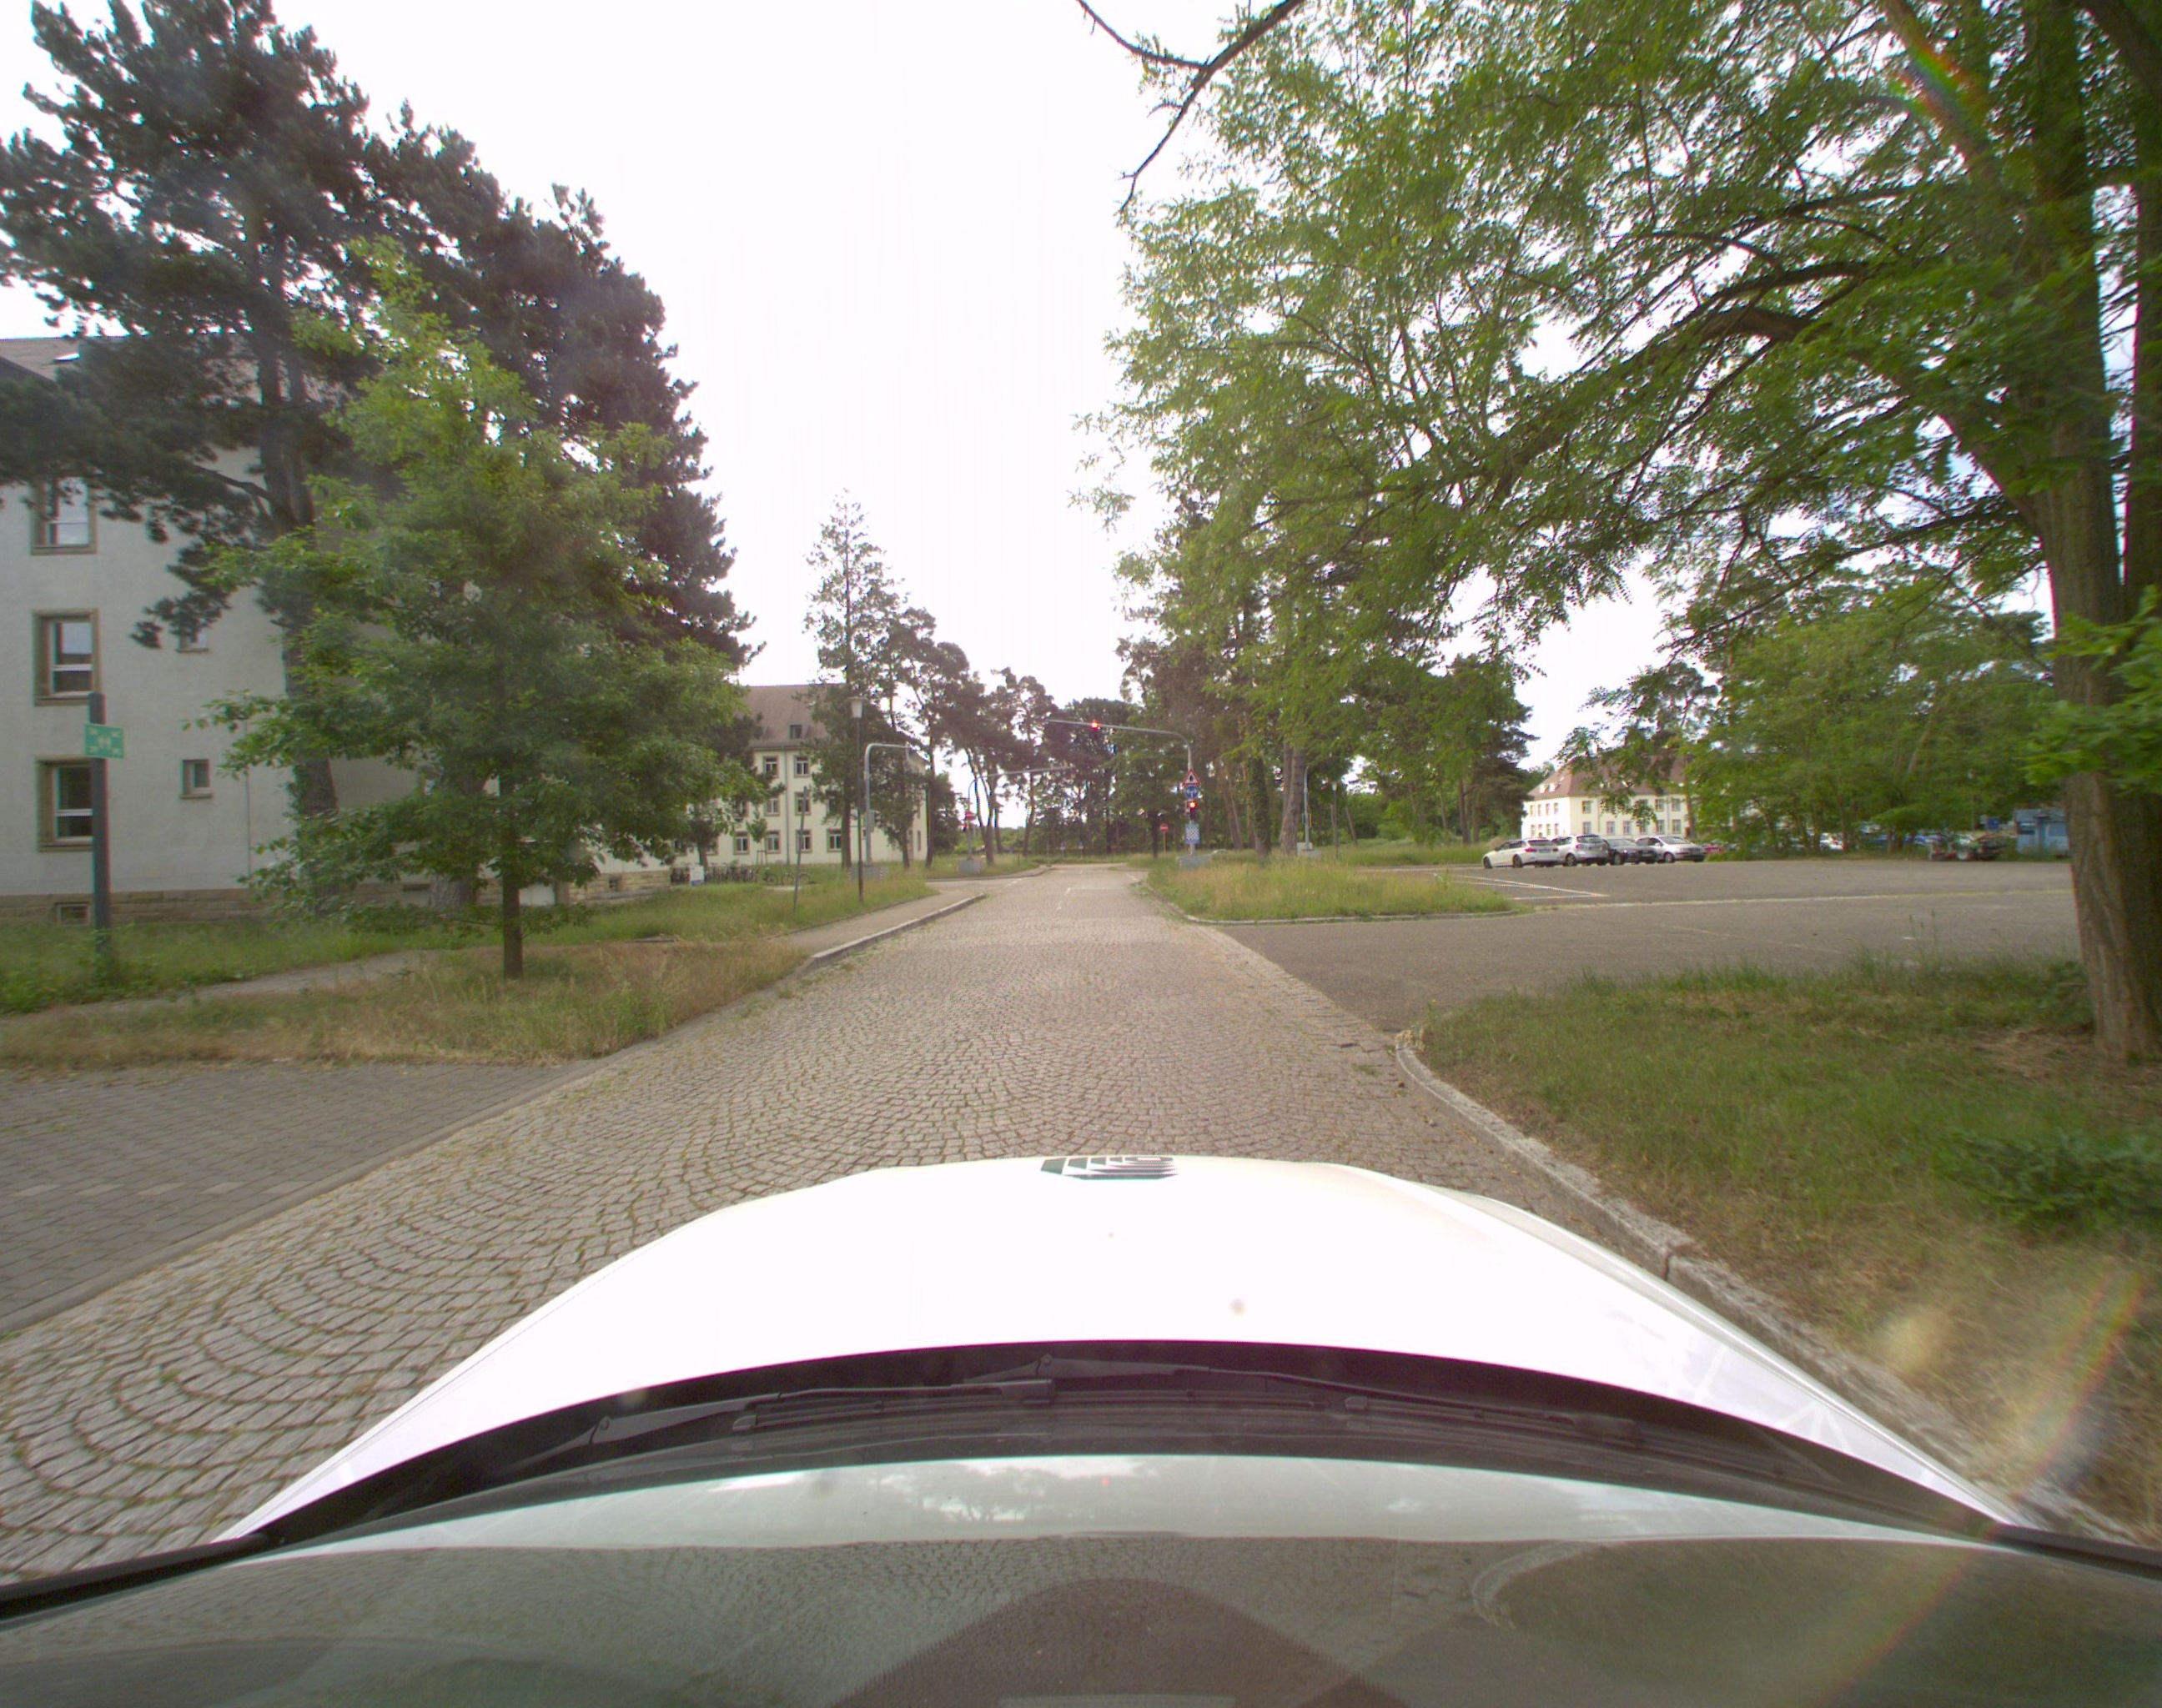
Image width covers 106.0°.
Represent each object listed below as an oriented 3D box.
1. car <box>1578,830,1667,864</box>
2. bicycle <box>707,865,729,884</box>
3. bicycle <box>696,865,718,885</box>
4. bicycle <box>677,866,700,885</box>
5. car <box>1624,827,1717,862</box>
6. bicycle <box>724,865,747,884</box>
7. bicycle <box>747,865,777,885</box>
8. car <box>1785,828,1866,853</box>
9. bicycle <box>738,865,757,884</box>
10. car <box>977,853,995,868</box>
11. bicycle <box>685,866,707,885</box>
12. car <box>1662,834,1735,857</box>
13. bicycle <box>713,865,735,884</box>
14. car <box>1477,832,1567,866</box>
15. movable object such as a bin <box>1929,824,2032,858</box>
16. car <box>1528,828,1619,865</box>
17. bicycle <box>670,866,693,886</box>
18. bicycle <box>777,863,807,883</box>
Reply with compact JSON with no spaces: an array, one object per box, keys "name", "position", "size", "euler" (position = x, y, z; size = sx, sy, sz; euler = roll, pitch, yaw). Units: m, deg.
[{"name":"car","position":[26.994,-0.306,40.769],"size":[1.694,1.485,4.245],"euler":[-2,-2,2]},{"name":"bicycle","position":[-21.274,1.201,47.730],"size":[0.513,1.079,1.586],"euler":[-2,0,1]},{"name":"bicycle","position":[-21.905,1.213,47.680],"size":[0.513,1.079,1.586],"euler":[-2,0,1]},{"name":"bicycle","position":[-22.979,1.239,47.647],"size":[0.513,1.079,1.586],"euler":[-2,0,1]},{"name":"car","position":[29.732,-0.441,41.263],"size":[1.694,1.485,4.245],"euler":[-2,-2,2]},{"name":"bicycle","position":[-20.210,1.201,47.637],"size":[0.512,1.079,1.587],"euler":[-2,0,4]},{"name":"bicycle","position":[-18.128,1.170,46.352],"size":[1.460,1.079,0.516],"euler":[-2,0,-2]},{"name":"car","position":[47.325,-0.833,51.902],"size":[1.608,1.501,4.251],"euler":[-1,1,6]},{"name":"bicycle","position":[-19.532,1.201,47.729],"size":[0.513,1.079,1.584],"euler":[-2,0,-2]},{"name":"car","position":[-12.145,0.801,104.345],"size":[1.988,1.846,3.997],"euler":[0,0,-2]},{"name":"bicycle","position":[-22.527,1.235,47.656],"size":[0.513,1.079,1.586],"euler":[-2,0,1]},{"name":"car","position":[39.044,-0.543,51.600],"size":[1.725,1.390,4.251],"euler":[-1,1,6]},{"name":"bicycle","position":[-20.913,1.201,47.727],"size":[0.513,1.079,1.586],"euler":[-2,0,1]},{"name":"car","position":[21.728,-0.191,40.344],"size":[1.843,1.487,4.605],"euler":[0,-2,-2]},{"name":"movable object such as a bin","position":[30.733,-0.435,27.882],"size":[0.959,1.134,2.207],"euler":[0,0,-8]},{"name":"car","position":[24.365,-0.321,40.464],"size":[1.777,1.605,4.239],"euler":[-2,-2,-2]},{"name":"bicycle","position":[-23.364,1.268,47.637],"size":[0.513,1.079,1.586],"euler":[-2,0,1]},{"name":"bicycle","position":[-16.493,1.094,46.527],"size":[1.460,1.065,0.516],"euler":[-2,0,-2]}]
